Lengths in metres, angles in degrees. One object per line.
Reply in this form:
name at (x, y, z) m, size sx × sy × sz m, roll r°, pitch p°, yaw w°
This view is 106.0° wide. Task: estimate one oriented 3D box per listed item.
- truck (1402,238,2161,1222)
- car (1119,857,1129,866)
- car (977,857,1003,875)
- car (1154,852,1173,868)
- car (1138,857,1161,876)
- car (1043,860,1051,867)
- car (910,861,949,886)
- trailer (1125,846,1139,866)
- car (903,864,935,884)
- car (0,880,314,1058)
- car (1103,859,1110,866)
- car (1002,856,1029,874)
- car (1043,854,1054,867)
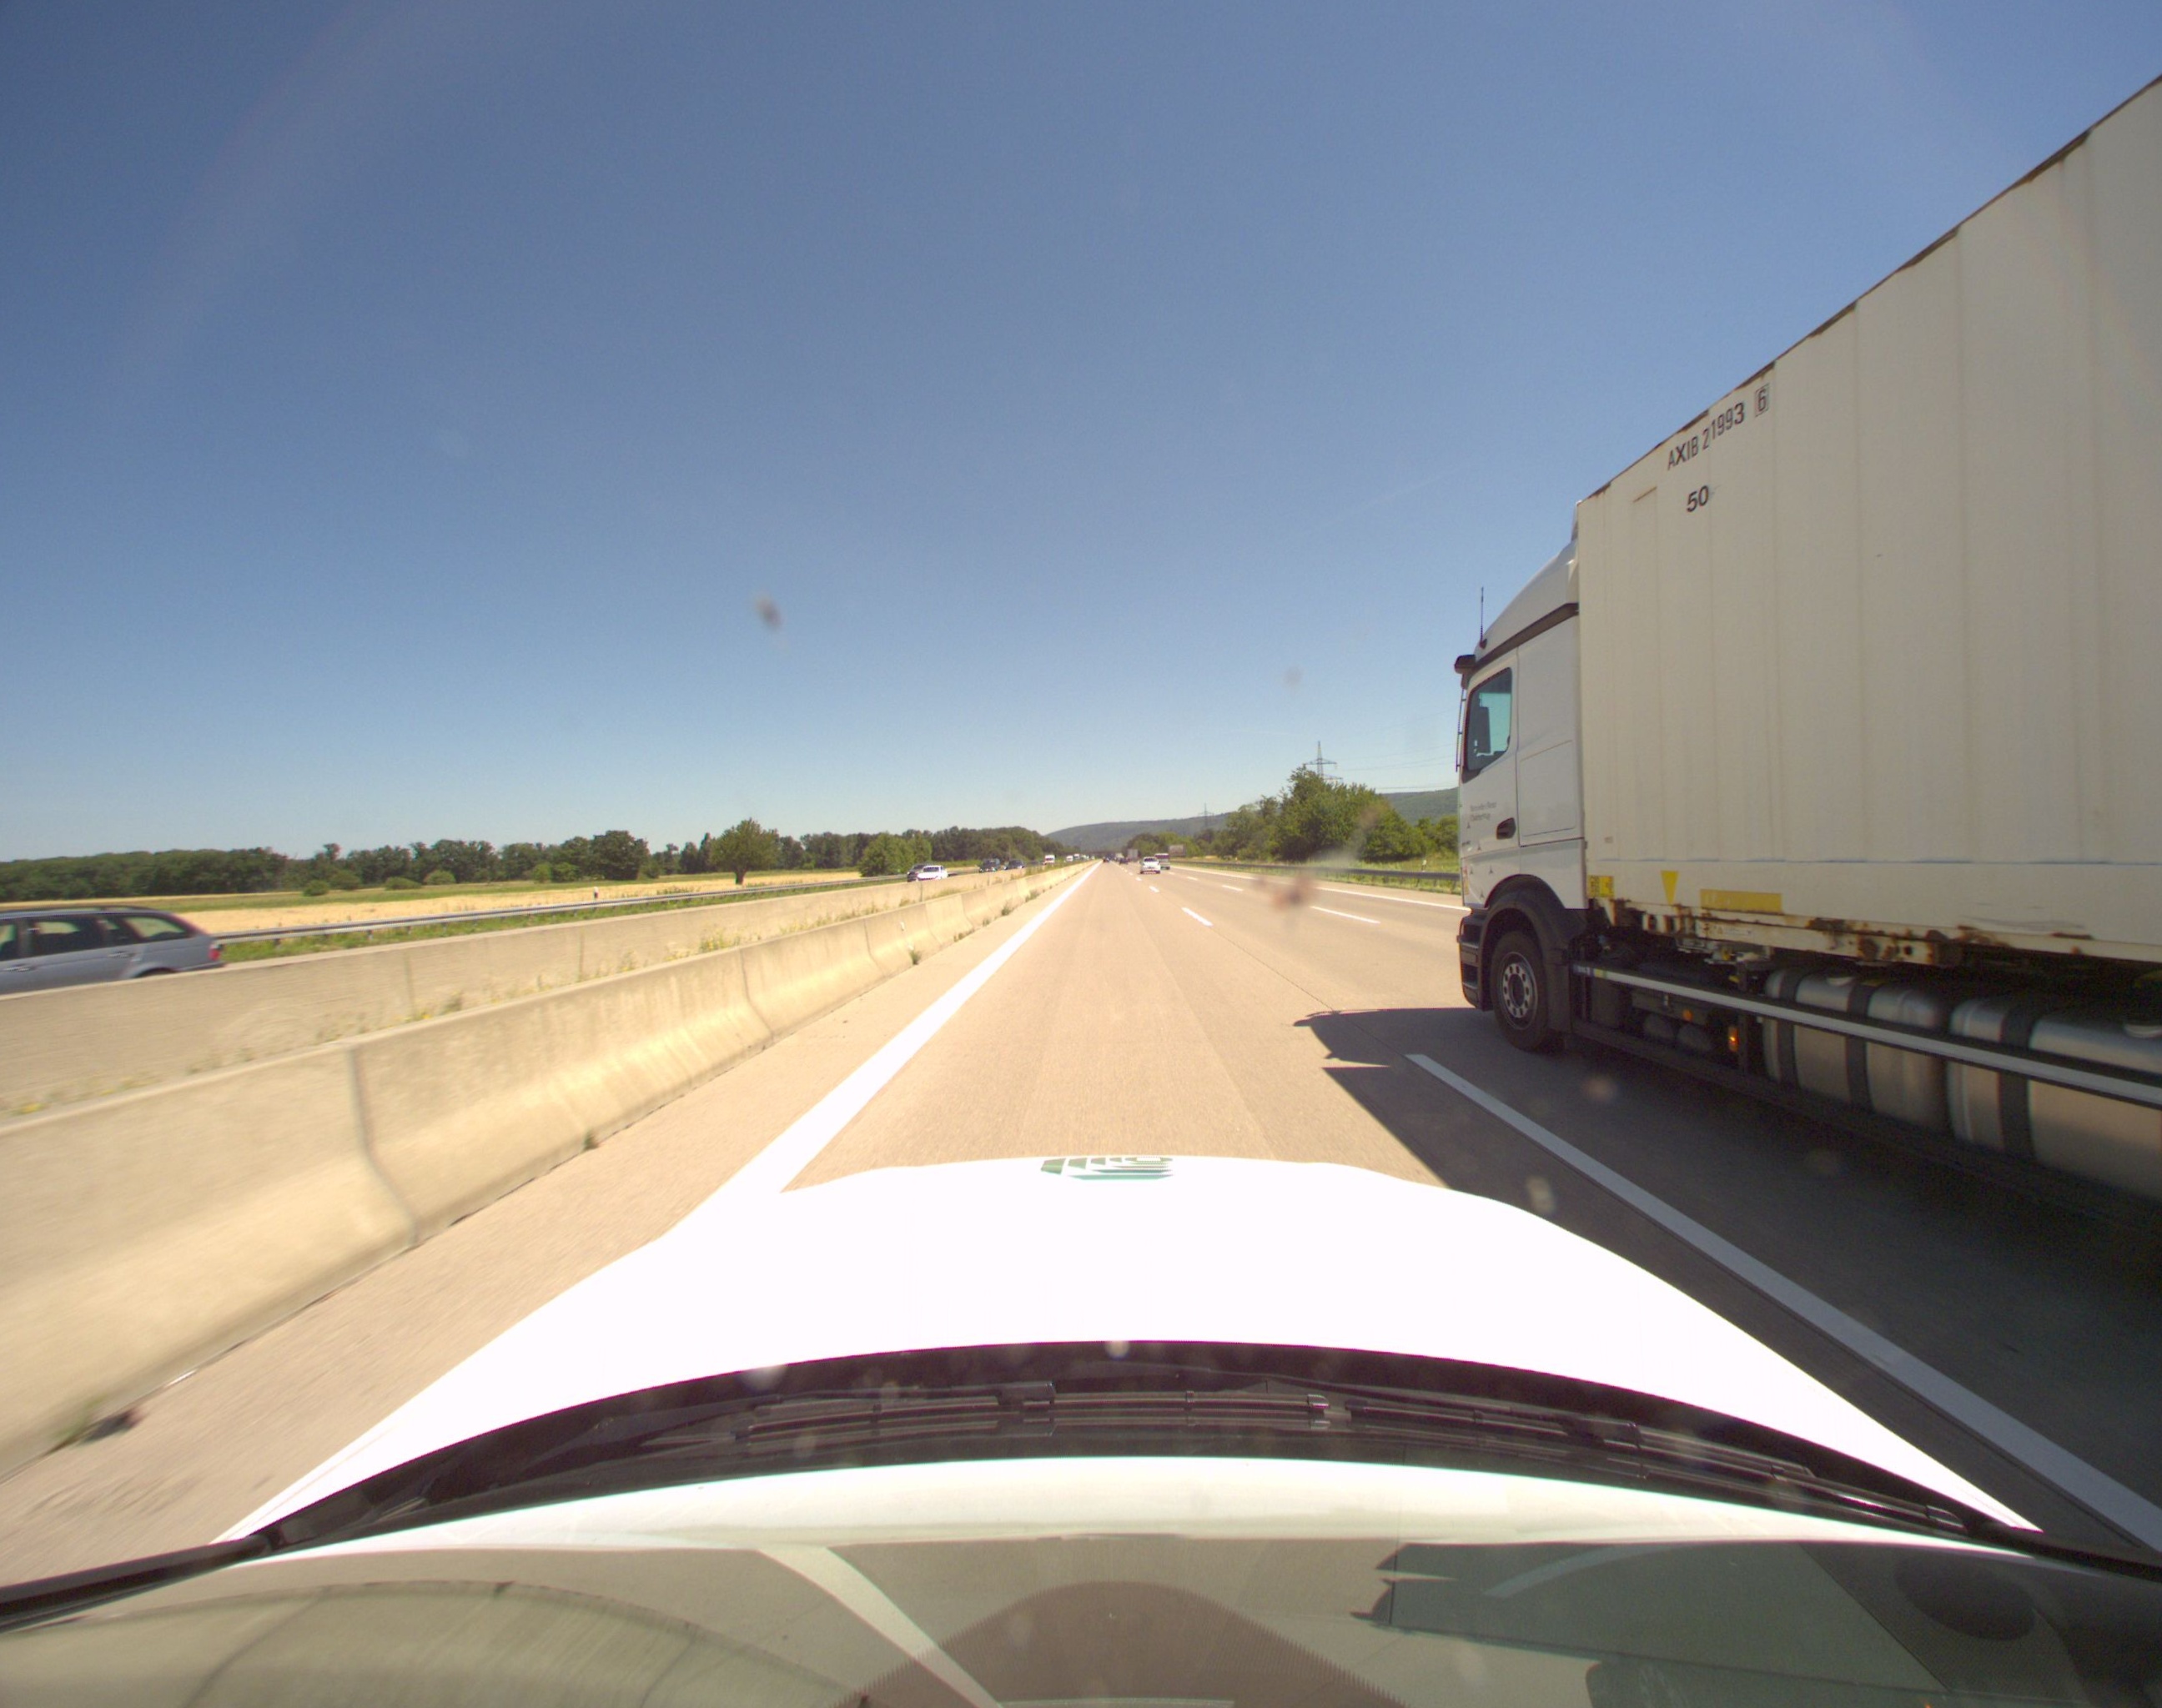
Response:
truck at (4.497, -0.499, 5.702) m, size 2.572 × 3.877 × 4.985 m, roll 0°, pitch 0°, yaw 1°
car at (8.983, 1.581, 171.433) m, size 1.987 × 1.849 × 4.000 m, roll 1°, pitch 0°, yaw 0°
car at (-9.741, 1.221, 87.790) m, size 1.985 × 1.878 × 5.188 m, roll 0°, pitch 0°, yaw 3°
car at (9.724, 0.657, 96.287) m, size 1.986 × 1.849 × 4.001 m, roll 0°, pitch 0°, yaw 1°
car at (6.252, 1.092, 74.346) m, size 1.813 × 1.662 × 4.001 m, roll -1°, pitch 0°, yaw 1°
car at (-8.566, 2.283, 205.424) m, size 1.747 × 1.684 × 4.843 m, roll 0°, pitch 0°, yaw 1°
car at (-11.023, 1.441, 59.667) m, size 1.987 × 1.717 × 4.612 m, roll 0°, pitch -1°, yaw 0°
trailer at (15.202, 0.534, 243.922) m, size 3.709 × 5.811 × 12.160 m, roll 0°, pitch 0°, yaw 0°
car at (-14.725, 1.780, 74.167) m, size 1.987 × 1.717 × 4.301 m, roll 0°, pitch 0°, yaw 0°
car at (-11.936, 1.228, 8.932) m, size 1.955 × 1.717 × 5.132 m, roll 0°, pitch 0°, yaw 4°
car at (7.211, 2.426, 232.916) m, size 1.922 × 1.794 × 4.001 m, roll 0°, pitch 0°, yaw 1°
car at (-6.353, 1.051, 79.833) m, size 1.985 × 1.717 × 5.033 m, roll 0°, pitch 0°, yaw 3°
car at (-7.335, 1.392, 184.230) m, size 2.257 × 2.788 × 7.066 m, roll 0°, pitch 0°, yaw -2°
